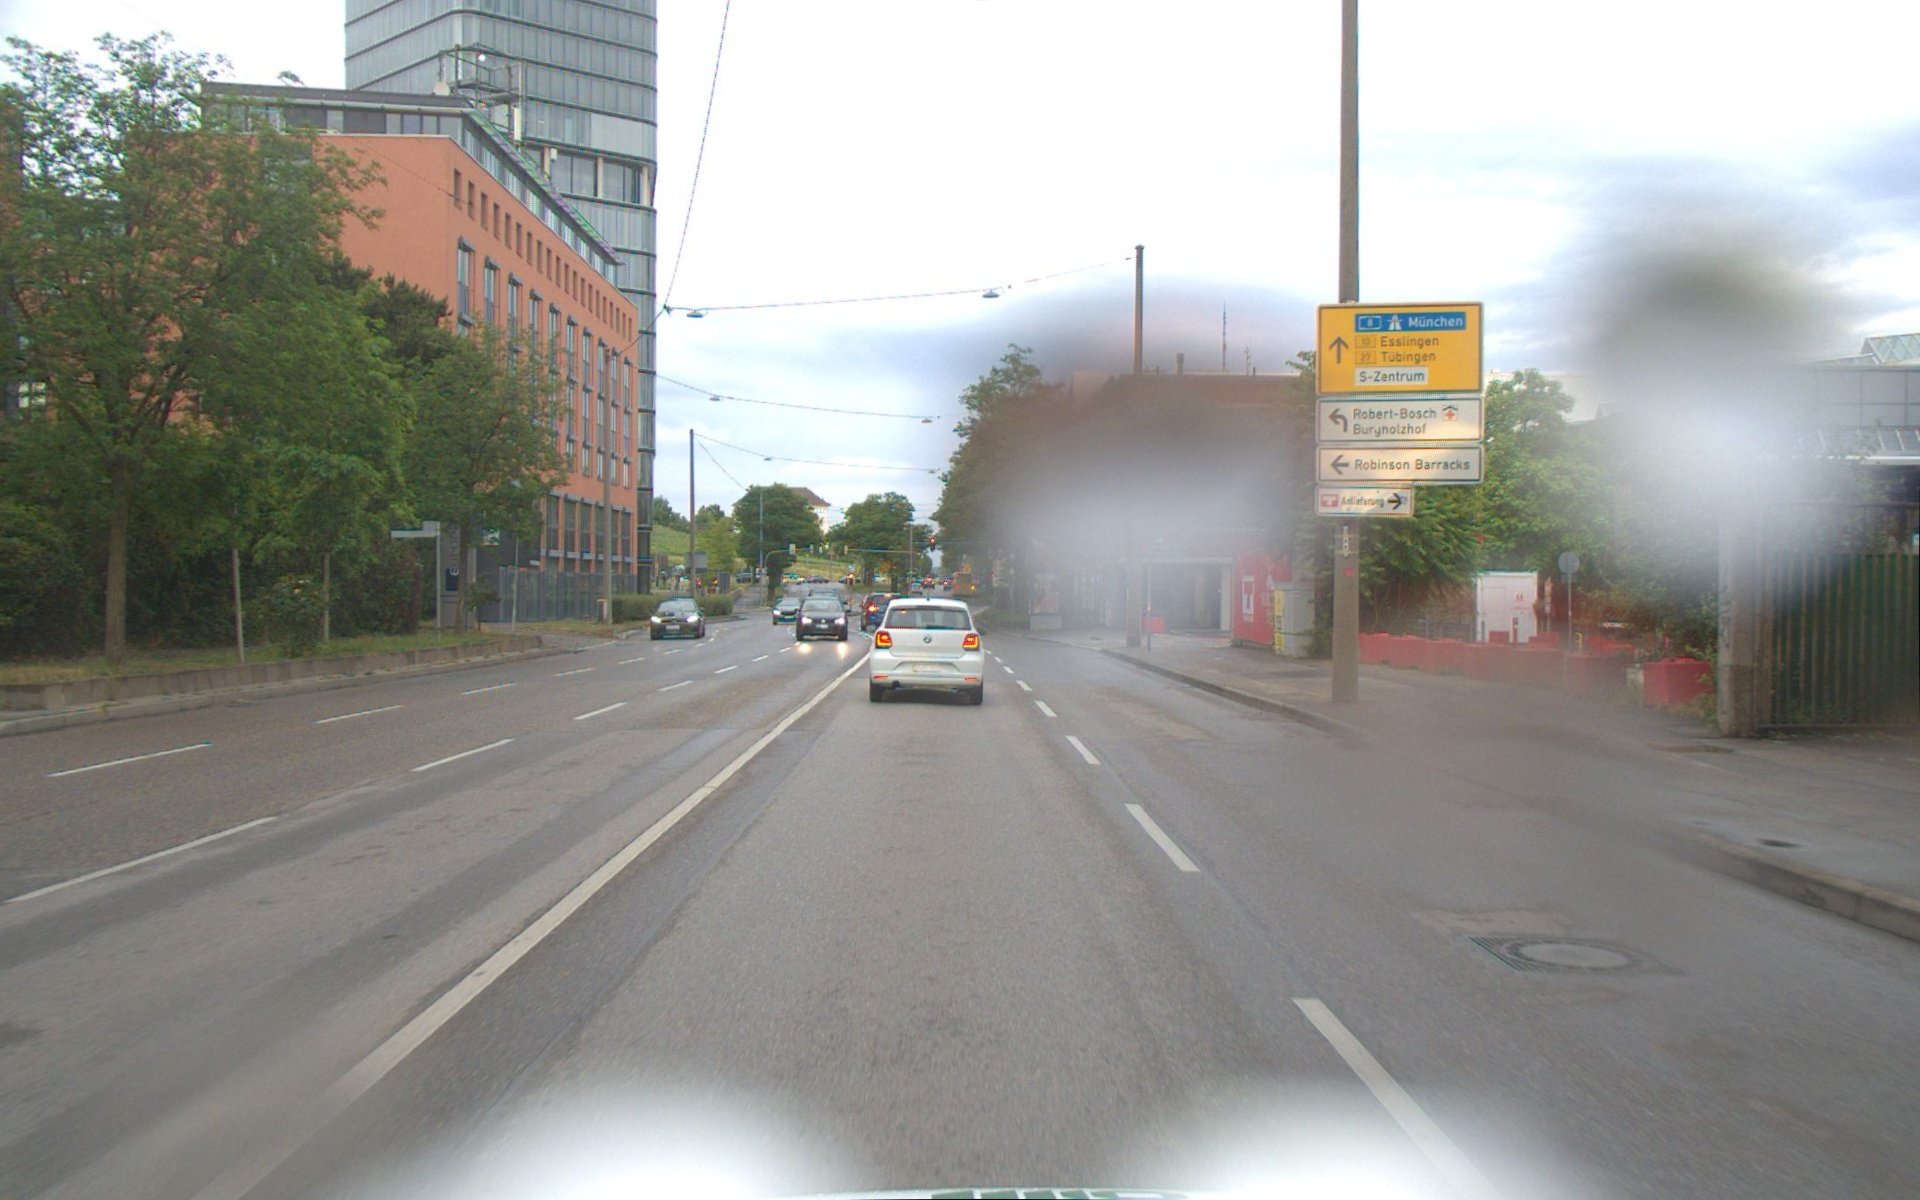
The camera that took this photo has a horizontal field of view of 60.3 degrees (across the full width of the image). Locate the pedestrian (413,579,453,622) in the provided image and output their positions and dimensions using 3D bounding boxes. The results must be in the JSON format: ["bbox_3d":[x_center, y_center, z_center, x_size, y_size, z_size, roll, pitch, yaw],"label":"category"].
[{"bbox_3d":[-21.859,0.032,68.662,1.182,1.708,1.419,-2,-2,-1],"label":"pedestrian"}]

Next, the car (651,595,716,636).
[{"bbox_3d":[-10.169,0.554,61.095,1.588,1.346,4.447,-2,1,0],"label":"car"}]

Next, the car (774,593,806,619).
[{"bbox_3d":[-9.416,0.350,91.911,1.678,1.389,3.996,0,0,-4],"label":"car"}]

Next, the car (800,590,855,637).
[{"bbox_3d":[-4.469,0.436,56.147,1.625,1.512,3.819,0,0,-1],"label":"car"}]

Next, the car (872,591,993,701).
[{"bbox_3d":[-0.420,0.623,24.548,1.637,1.499,3.778,1,0,-1],"label":"car"}]

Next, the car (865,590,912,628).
[{"bbox_3d":[-3.062,0.366,71.787,1.953,1.601,3.999,0,0,-2],"label":"car"}]
